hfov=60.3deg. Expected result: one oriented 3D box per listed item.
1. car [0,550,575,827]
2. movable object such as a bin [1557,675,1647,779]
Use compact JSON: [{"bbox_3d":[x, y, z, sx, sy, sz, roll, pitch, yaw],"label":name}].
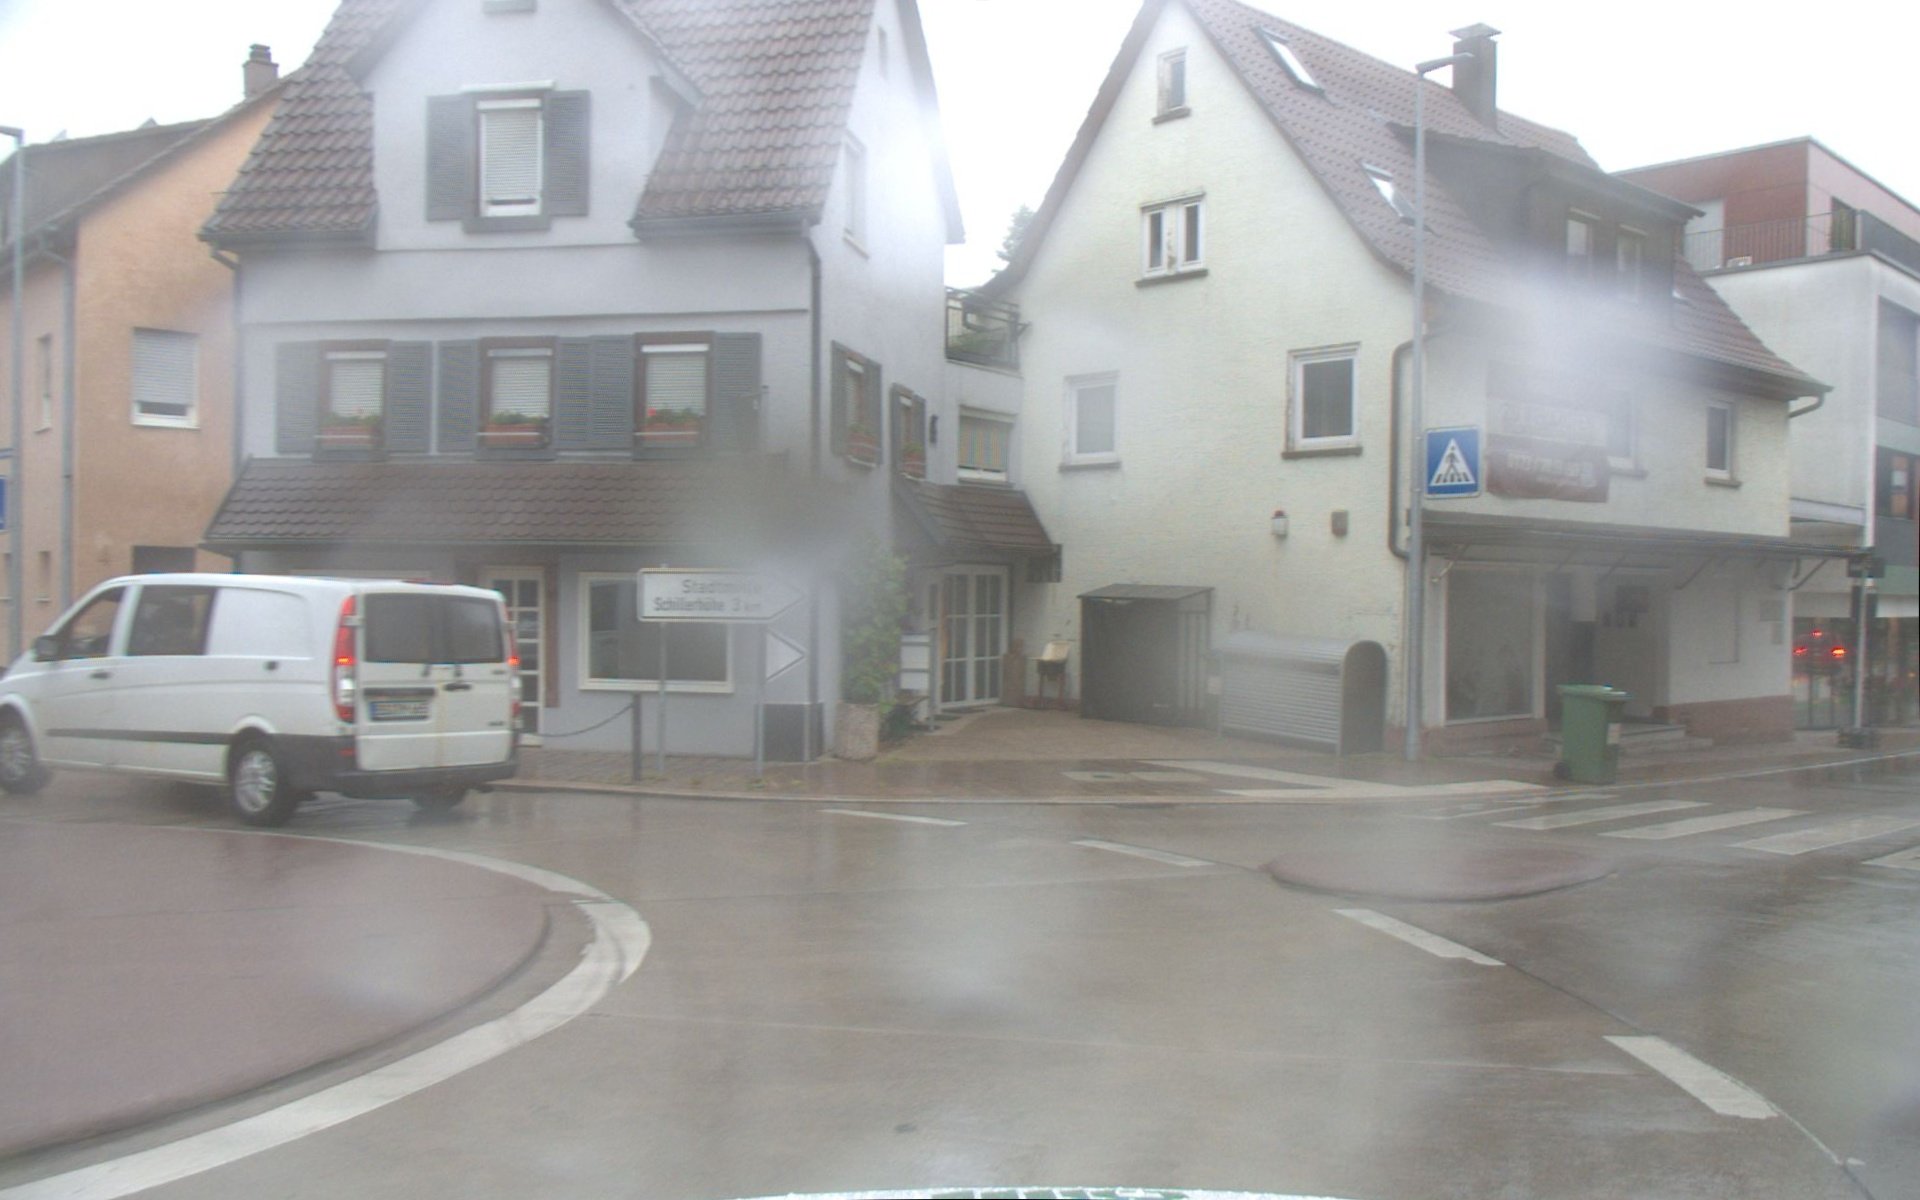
[{"bbox_3d":[-5.730,0.680,13.751,4.819,1.932,2.154,-1,-2,31],"label":"car"},{"bbox_3d":[7.318,1.435,18.844,0.677,1.100,0.756,4,0,42],"label":"movable object such as a bin"}]
